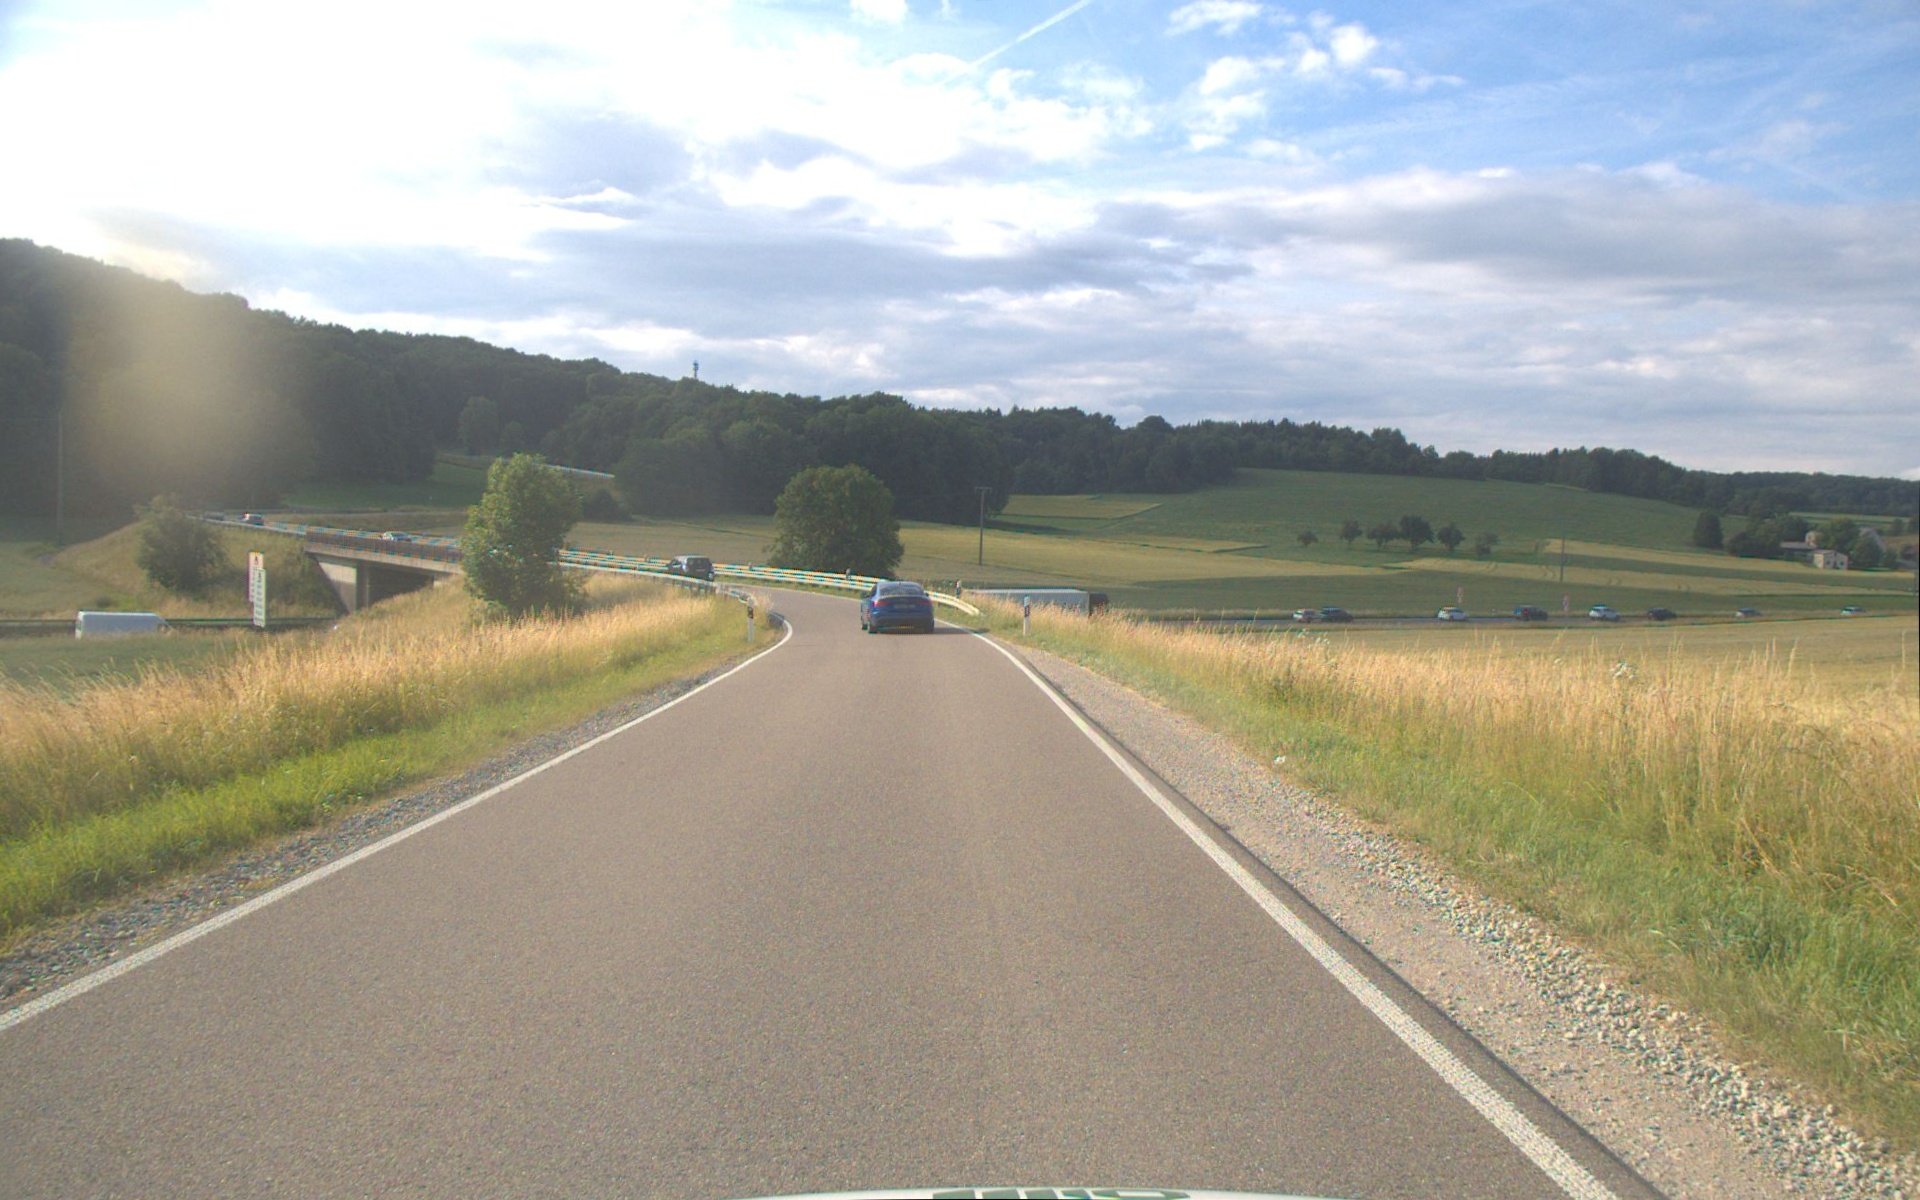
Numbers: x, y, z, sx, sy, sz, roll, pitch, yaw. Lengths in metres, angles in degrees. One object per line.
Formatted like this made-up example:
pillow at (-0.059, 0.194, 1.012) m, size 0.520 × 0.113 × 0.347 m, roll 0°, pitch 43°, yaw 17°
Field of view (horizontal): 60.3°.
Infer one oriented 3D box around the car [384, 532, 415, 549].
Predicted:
car at (-44.737, -4.759, 131.959) m, size 1.459 × 1.248 × 3.260 m, roll 0°, pitch 3°, yaw -35°

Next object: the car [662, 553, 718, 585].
car at (-14.311, -1.642, 87.562) m, size 1.840 × 1.596 × 3.965 m, roll 0°, pitch 2°, yaw -27°

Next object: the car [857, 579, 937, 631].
car at (-1.813, 0.094, 46.347) m, size 1.784 × 1.362 × 4.342 m, roll -1°, pitch 1°, yaw -8°

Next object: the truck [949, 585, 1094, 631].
truck at (5.831, 0.718, 154.581) m, size 14.268 × 4.066 × 4.026 m, roll -1°, pitch 0°, yaw -37°

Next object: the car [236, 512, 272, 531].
car at (-70.517, -7.833, 165.181) m, size 1.984 × 1.708 × 4.113 m, roll 3°, pitch 1°, yaw -43°

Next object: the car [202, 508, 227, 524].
car at (-86.053, -9.714, 190.882) m, size 1.976 × 1.802 × 3.955 m, roll -4°, pitch 5°, yaw -33°

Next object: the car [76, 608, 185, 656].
car at (-54.007, 2.051, 107.774) m, size 6.060 × 2.627 × 2.344 m, roll -2°, pitch 9°, yaw -38°
